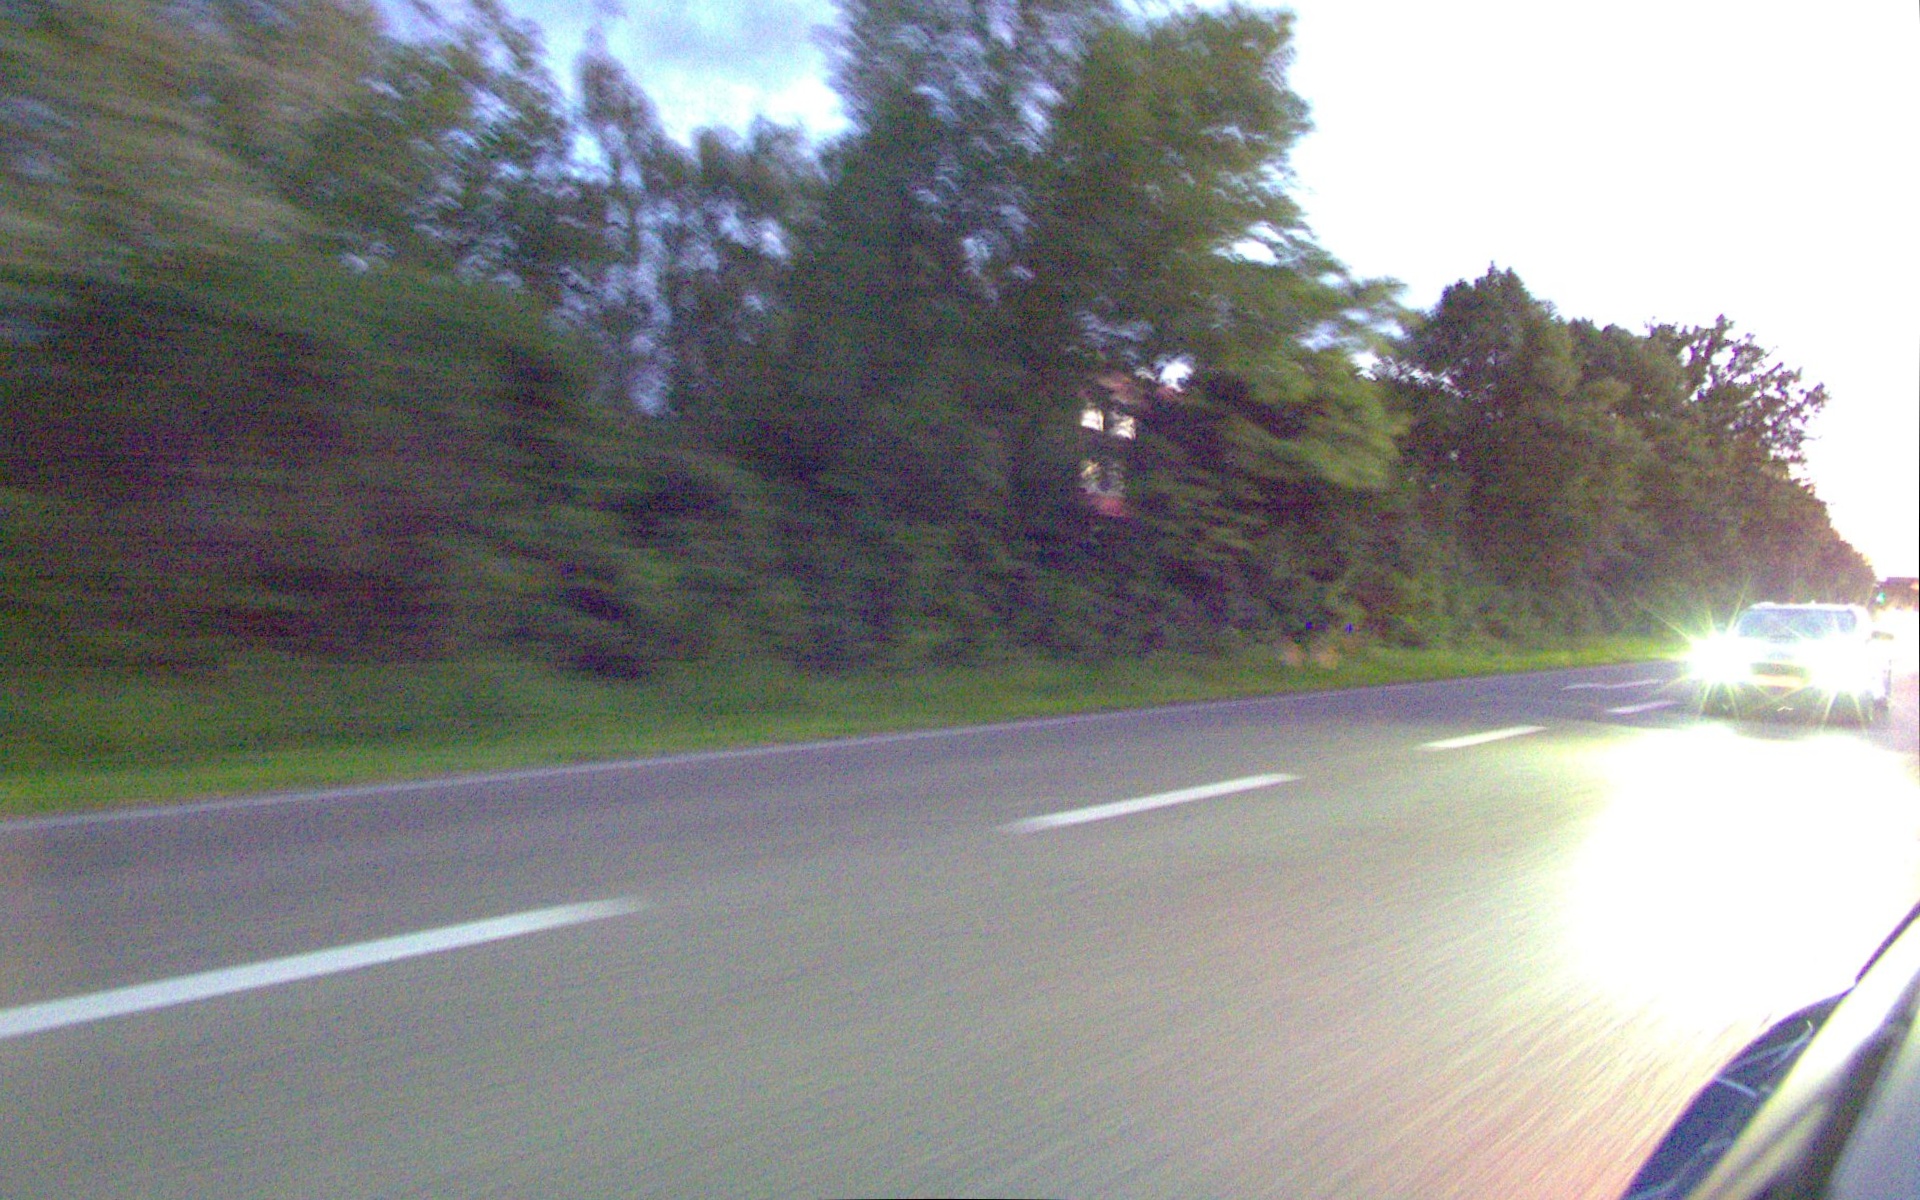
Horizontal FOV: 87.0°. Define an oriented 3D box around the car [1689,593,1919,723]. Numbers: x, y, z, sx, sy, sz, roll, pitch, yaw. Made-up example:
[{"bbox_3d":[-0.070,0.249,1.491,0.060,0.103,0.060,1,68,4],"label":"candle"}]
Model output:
[{"bbox_3d":[12.701,0.745,15.085,4.629,1.630,1.997,1,0,-41],"label":"car"}]
